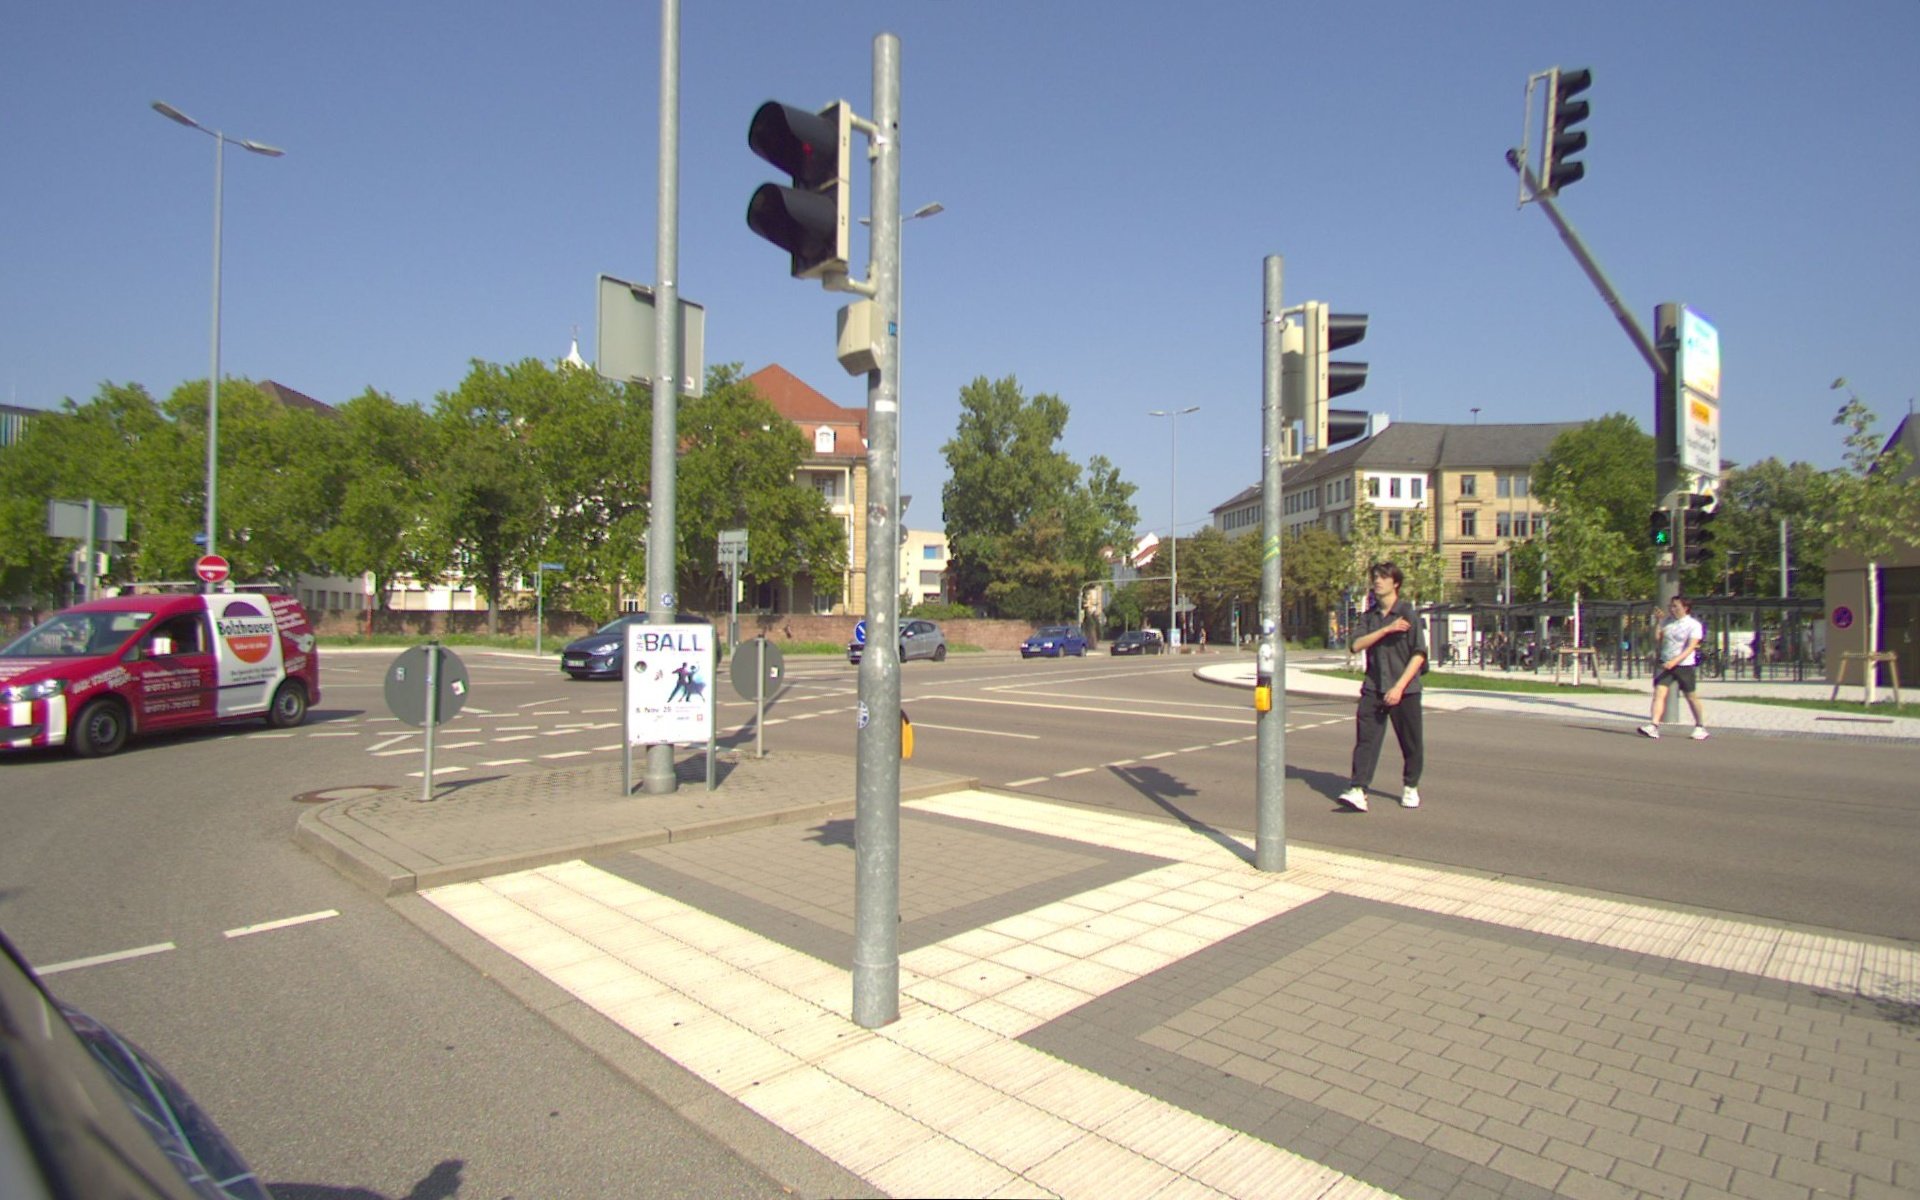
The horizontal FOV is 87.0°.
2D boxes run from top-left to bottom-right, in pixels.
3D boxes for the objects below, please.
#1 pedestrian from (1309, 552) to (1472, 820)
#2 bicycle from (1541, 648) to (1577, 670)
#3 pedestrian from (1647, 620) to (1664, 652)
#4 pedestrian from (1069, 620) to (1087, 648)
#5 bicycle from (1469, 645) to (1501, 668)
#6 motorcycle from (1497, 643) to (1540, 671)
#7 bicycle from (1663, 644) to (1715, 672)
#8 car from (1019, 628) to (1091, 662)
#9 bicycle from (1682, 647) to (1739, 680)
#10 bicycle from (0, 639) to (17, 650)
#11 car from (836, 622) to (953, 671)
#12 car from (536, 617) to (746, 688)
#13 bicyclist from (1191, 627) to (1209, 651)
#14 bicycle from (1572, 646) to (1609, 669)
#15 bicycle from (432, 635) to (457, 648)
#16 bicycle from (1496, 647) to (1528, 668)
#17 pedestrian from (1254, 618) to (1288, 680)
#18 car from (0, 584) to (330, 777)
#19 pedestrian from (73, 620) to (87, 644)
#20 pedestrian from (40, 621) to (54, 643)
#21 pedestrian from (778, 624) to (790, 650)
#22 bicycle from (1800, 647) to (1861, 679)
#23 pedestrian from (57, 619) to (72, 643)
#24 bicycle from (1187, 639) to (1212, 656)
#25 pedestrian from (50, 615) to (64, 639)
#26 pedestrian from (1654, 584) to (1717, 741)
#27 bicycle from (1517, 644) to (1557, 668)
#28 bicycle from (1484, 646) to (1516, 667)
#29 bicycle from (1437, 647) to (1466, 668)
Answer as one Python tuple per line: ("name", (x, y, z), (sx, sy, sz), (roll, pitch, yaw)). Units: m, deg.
("pedestrian", (3.261, 0.603, 7.653), (1.066, 1.854, 0.731), (0, -1, -42))
("bicycle", (25.137, 2.470, 42.481), (0.404, 0.899, 1.590), (1, -2, -5))
("pedestrian", (38.474, 2.013, 56.002), (0.713, 1.762, 0.385), (-1, -3, 27))
("pedestrian", (8.633, 2.500, 74.025), (0.821, 2.029, 0.895), (-5, -5, 43))
("bicycle", (22.998, 2.478, 44.370), (0.415, 0.975, 1.590), (1, -2, -5))
("motorcycle", (21.218, 2.161, 38.491), (0.535, 1.017, 1.747), (1, -2, -5))
("bicycle", (27.379, 2.154, 38.040), (0.454, 1.017, 1.877), (1, -2, -5))
("car", (4.095, 1.894, 43.075), (1.600, 1.339, 4.292), (-1, -2, 27))
("bicycle", (24.263, 2.034, 32.766), (0.395, 1.017, 1.747), (1, -2, -5))
("bicycle", (-72.394, 3.397, 76.827), (1.536, 0.842, 0.431), (0, -2, 17))
("car", (-2.002, 1.438, 31.936), (1.716, 1.444, 3.816), (-1, -2, 34))
("car", (-7.015, 1.103, 22.616), (1.640, 1.438, 4.263), (-1, -2, 41))
("bicyclist", (18.178, 2.944, 76.653), (0.884, 1.759, 1.354), (-4, -4, 32))
("bicycle", (26.628, 2.423, 42.759), (0.404, 0.899, 1.590), (1, -2, -5))
("bicycle", (-34.872, 2.795, 68.469), (1.530, 0.842, 0.433), (0, -2, 5))
("bicycle", (24.197, 2.519, 44.400), (0.404, 0.899, 1.590), (1, -2, -5))
("pedestrian", (8.096, 1.267, 26.356), (0.746, 1.577, 0.664), (1, -2, 12))
("car", (-9.702, 0.806, 11.861), (1.716, 1.833, 4.271), (0, -1, 5))
("pedestrian", (-62.521, 2.288, 71.916), (0.588, 1.664, 0.481), (-2, -4, 12))
("pedestrian", (-64.935, 2.270, 71.961), (0.497, 1.583, 0.533), (0, -2, 10))
("pedestrian", (-11.832, 2.479, 68.073), (0.708, 1.696, 0.595), (0, -2, -2))
("bicycle", (29.261, 2.115, 34.053), (0.395, 1.017, 1.747), (1, -2, -5))
("pedestrian", (-62.776, 2.197, 70.924), (0.588, 1.664, 0.518), (-2, -4, 12))
("bicycle", (18.152, 3.571, 76.549), (0.884, 1.214, 3.044), (-4, -4, 32))
("pedestrian", (-64.971, 1.960, 72.811), (0.588, 1.664, 0.481), (-2, -4, 12))
("pedestrian", (8.861, 0.751, 12.357), (0.570, 1.847, 0.686), (-1, -2, 38))
("bicycle", (24.216, 2.347, 42.497), (0.525, 0.994, 1.715), (1, -2, -5))
("bicycle", (23.678, 2.465, 44.378), (0.395, 0.899, 1.590), (1, -2, -5))
("bicycle", (21.666, 2.526, 44.642), (0.395, 0.899, 1.590), (0, -2, -5))
